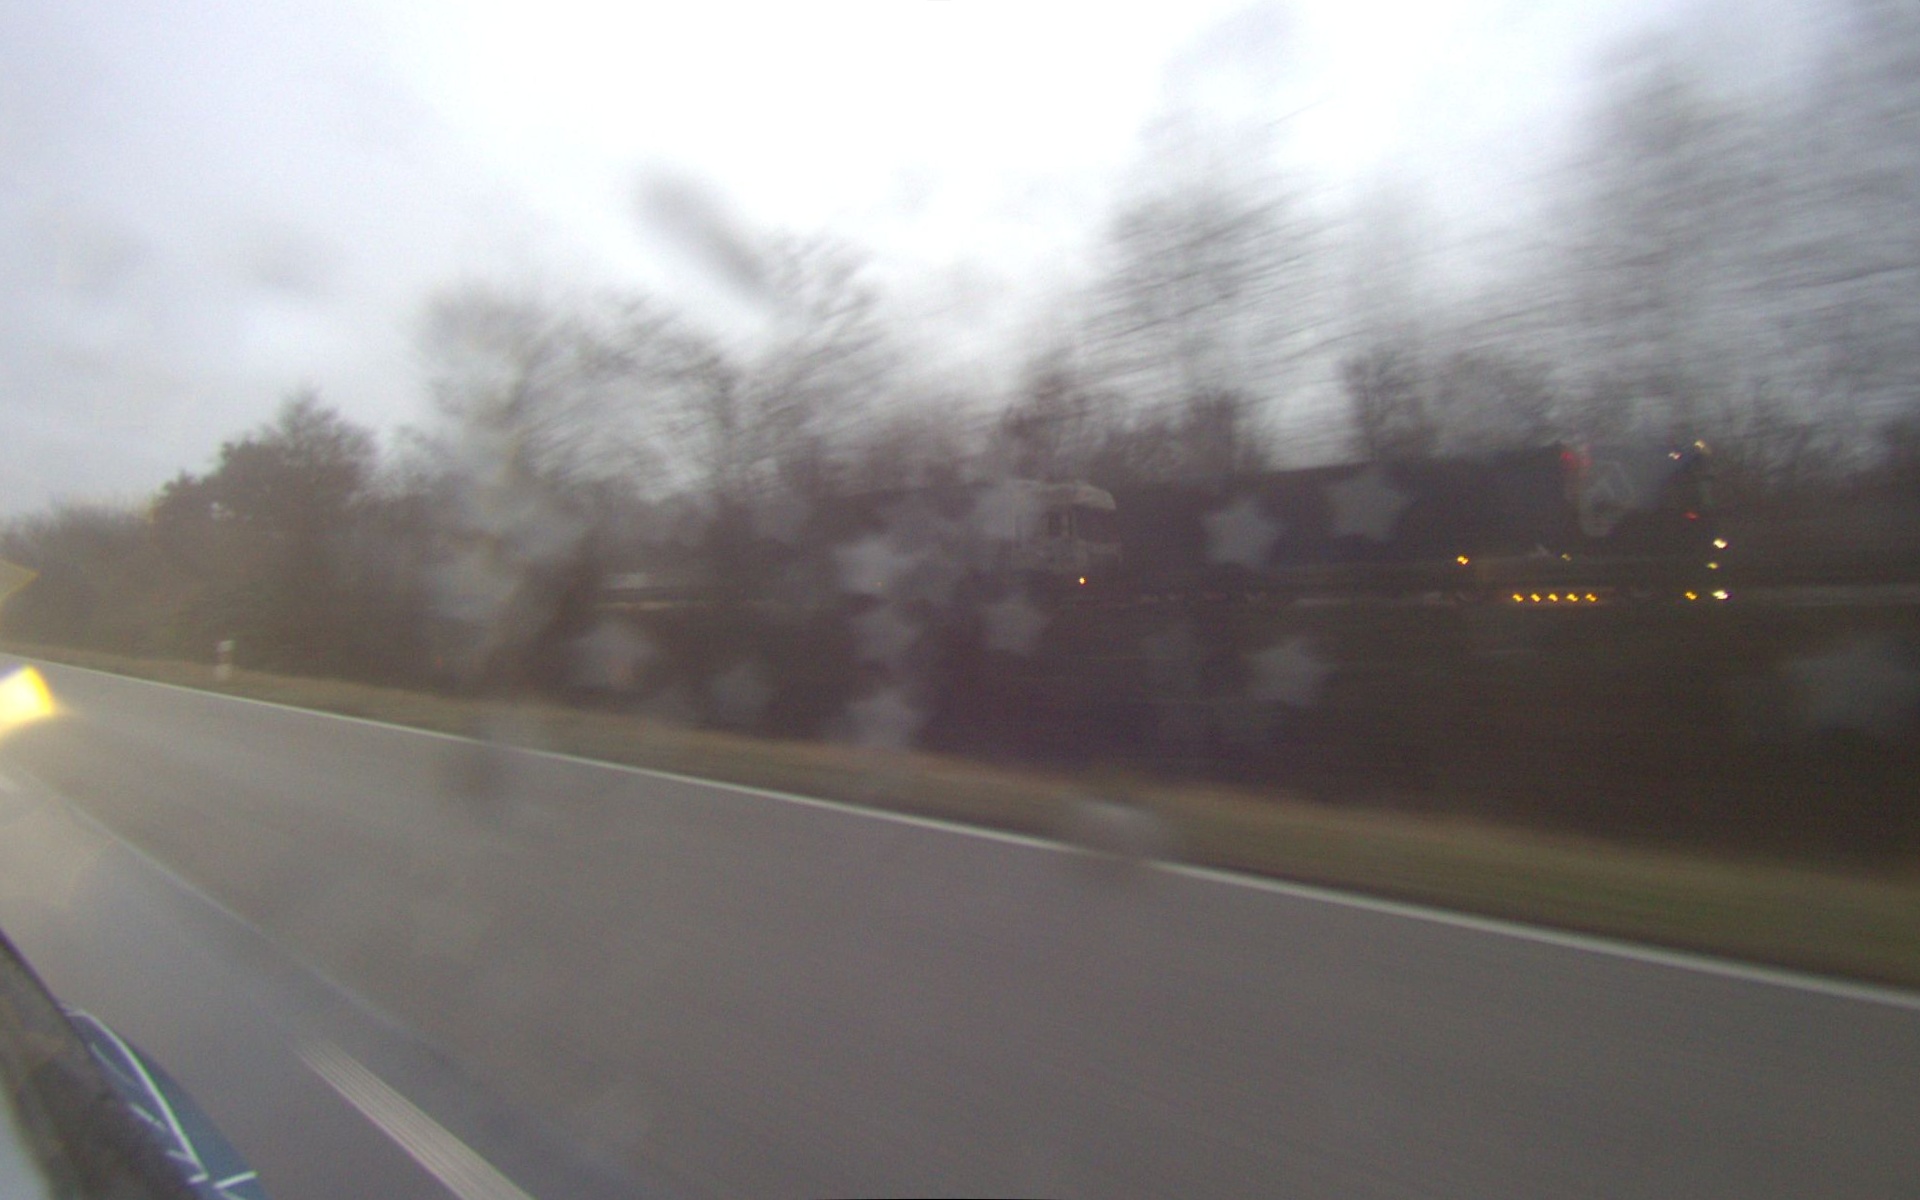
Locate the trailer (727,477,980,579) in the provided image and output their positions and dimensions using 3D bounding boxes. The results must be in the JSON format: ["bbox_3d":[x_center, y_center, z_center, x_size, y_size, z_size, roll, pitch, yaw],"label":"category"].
[{"bbox_3d":[-4.275,-2.430,37.311,11.079,2.913,2.410,-1,-1,41],"label":"trailer"}]

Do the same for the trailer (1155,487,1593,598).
[{"bbox_3d":[11.256,-1.393,29.064,11.497,2.443,2.482,-1,-2,41],"label":"trailer"}]

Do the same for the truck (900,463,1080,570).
[{"bbox_3d":[0.881,-2.560,32.821,5.580,2.909,2.424,-1,-1,41],"label":"truck"}]

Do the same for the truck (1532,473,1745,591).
[{"bbox_3d":[16.408,-1.514,24.552,3.998,2.454,2.503,-1,-2,41],"label":"truck"}]
